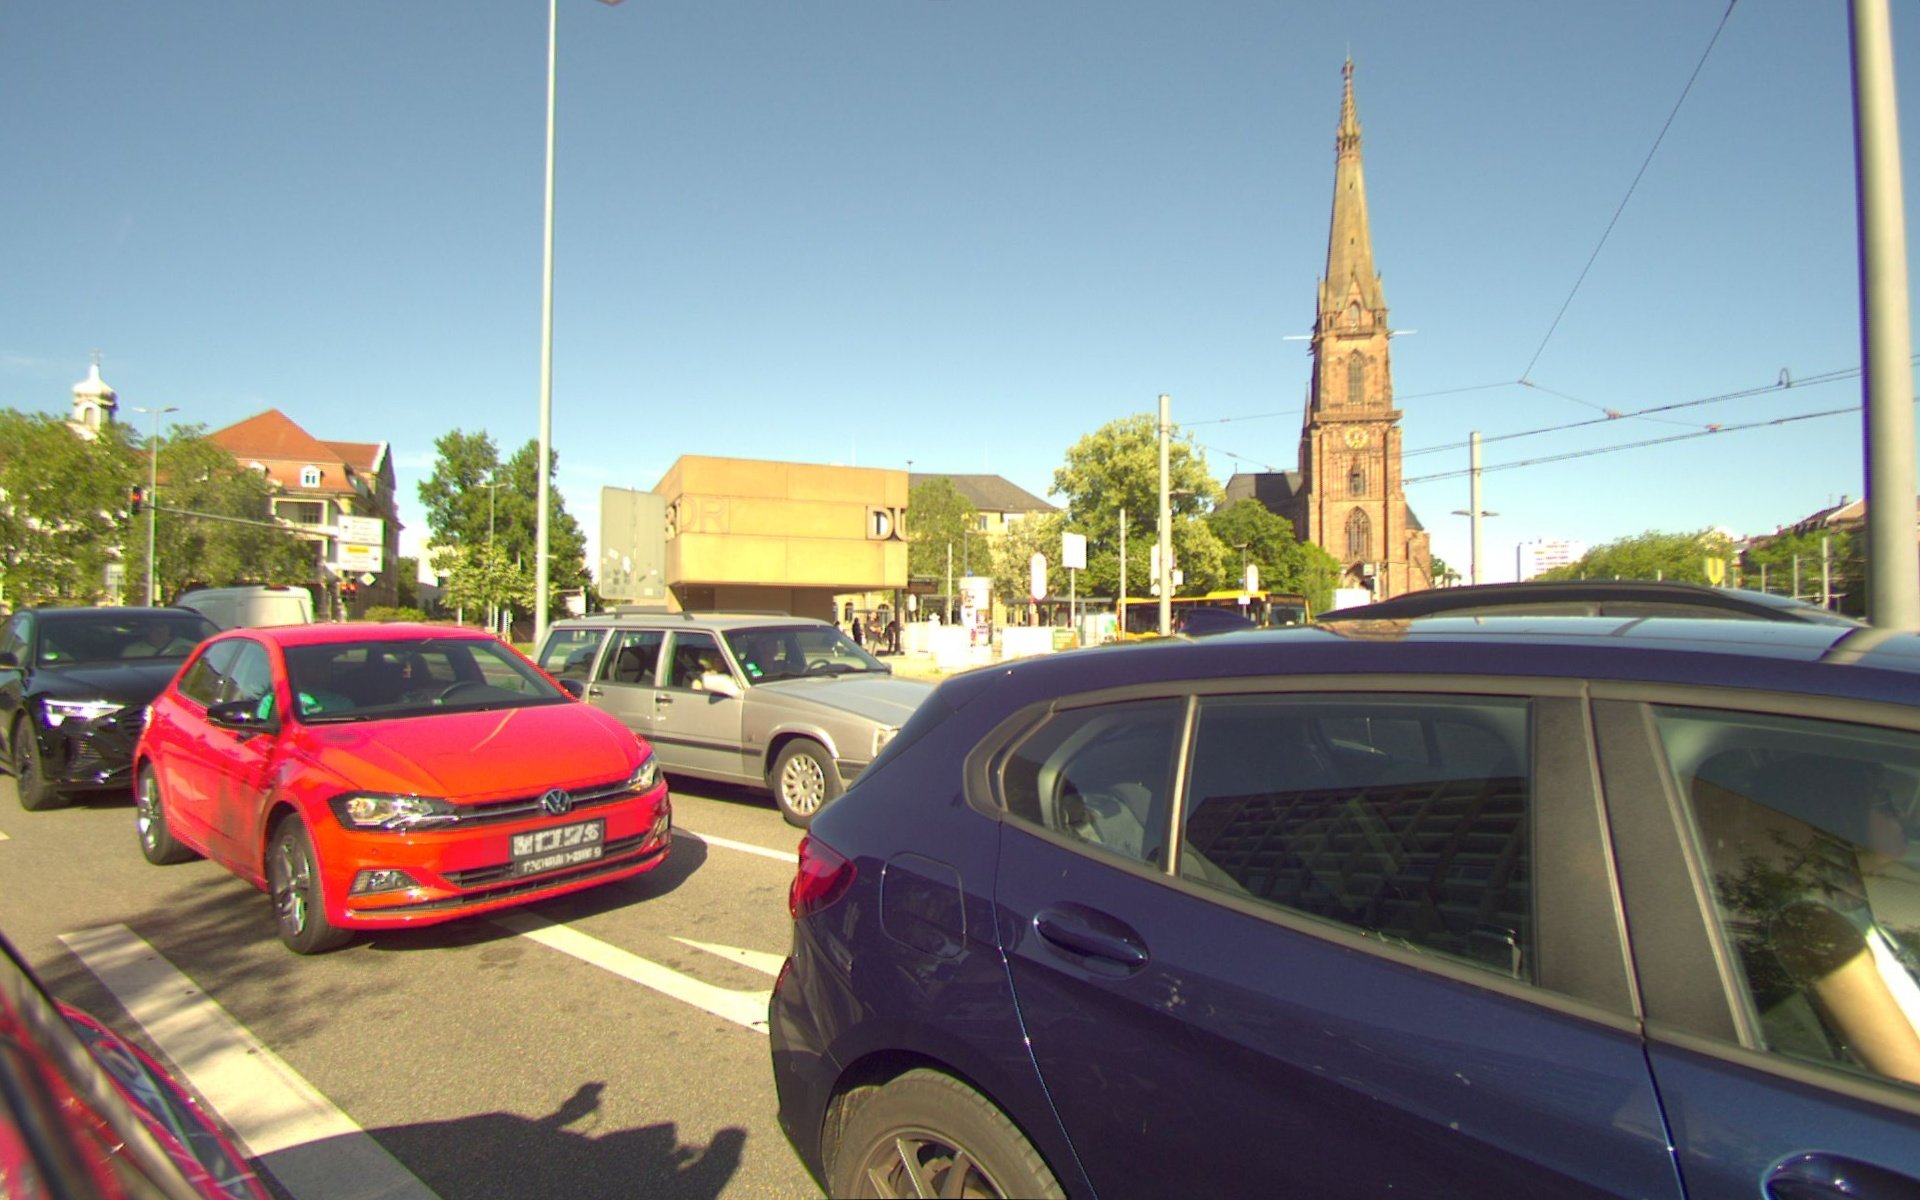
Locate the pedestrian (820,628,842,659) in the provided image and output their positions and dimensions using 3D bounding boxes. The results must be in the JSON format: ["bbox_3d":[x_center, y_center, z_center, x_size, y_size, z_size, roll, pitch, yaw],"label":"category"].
[{"bbox_3d":[-5.515,1.848,43.192,0.635,1.320,0.764,1,-2,-40],"label":"pedestrian"}]

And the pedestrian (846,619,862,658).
[{"bbox_3d":[-4.875,1.769,46.577,0.468,1.789,0.638,-2,-2,36],"label":"pedestrian"}]

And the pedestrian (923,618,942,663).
[{"bbox_3d":[-1.113,1.645,41.026,0.634,1.789,0.470,1,-2,-29],"label":"pedestrian"}]

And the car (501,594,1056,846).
[{"bbox_3d":[-1.699,0.798,8.218,4.745,1.484,1.692,-3,0,38],"label":"car"}]

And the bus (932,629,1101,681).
[{"bbox_3d":[1.418,1.370,26.163,4.174,1.251,1.627,-1,-2,35],"label":"bus"}]

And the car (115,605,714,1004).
[{"bbox_3d":[-3.236,0.808,5.673,3.850,1.484,1.653,-2,-1,40],"label":"car"}]

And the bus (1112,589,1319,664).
[{"bbox_3d":[11.614,1.311,48.116,2.715,3.088,12.201,1,-2,-23],"label":"bus"}]

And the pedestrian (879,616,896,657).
[{"bbox_3d":[-3.211,1.631,45.053,0.468,1.789,0.638,-2,-2,36],"label":"pedestrian"}]

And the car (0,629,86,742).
[{"bbox_3d":[-13.640,1.117,13.898,3.703,1.429,1.557,-1,-3,34],"label":"car"}]

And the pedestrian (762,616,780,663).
[{"bbox_3d":[-7.236,1.517,38.737,0.635,1.789,0.618,0,-2,-8],"label":"pedestrian"}]

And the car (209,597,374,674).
[{"bbox_3d":[-22.102,1.157,33.386,6.191,2.331,2.095,-1,-2,31],"label":"car"}]

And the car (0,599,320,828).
[{"bbox_3d":[-7.803,0.869,9.300,4.446,1.628,1.836,-1,-2,38],"label":"car"}]

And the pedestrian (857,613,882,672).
[{"bbox_3d":[-2.796,1.305,31.333,0.659,1.802,0.646,-1,-1,2],"label":"pedestrian"}]

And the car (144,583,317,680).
[{"bbox_3d":[-20.670,0.890,28.627,5.399,2.527,1.979,-1,-2,31],"label":"car"}]

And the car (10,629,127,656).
[{"bbox_3d":[-41.866,1.997,47.589,1.585,1.214,3.944,-2,-3,42],"label":"car"}]

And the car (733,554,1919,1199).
[{"bbox_3d":[1.601,0.680,1.356,4.030,1.456,1.692,-1,-1,42],"label":"car"}]

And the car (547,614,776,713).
[{"bbox_3d":[-5.618,1.144,18.967,4.057,1.672,1.851,-1,-2,31],"label":"car"}]

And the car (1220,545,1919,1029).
[{"bbox_3d":[3.311,0.607,4.139,4.010,1.529,1.738,-2,-2,44],"label":"car"}]

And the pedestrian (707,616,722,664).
[{"bbox_3d":[-9.350,1.513,38.524,0.460,1.789,0.648,0,-2,-21],"label":"pedestrian"}]
